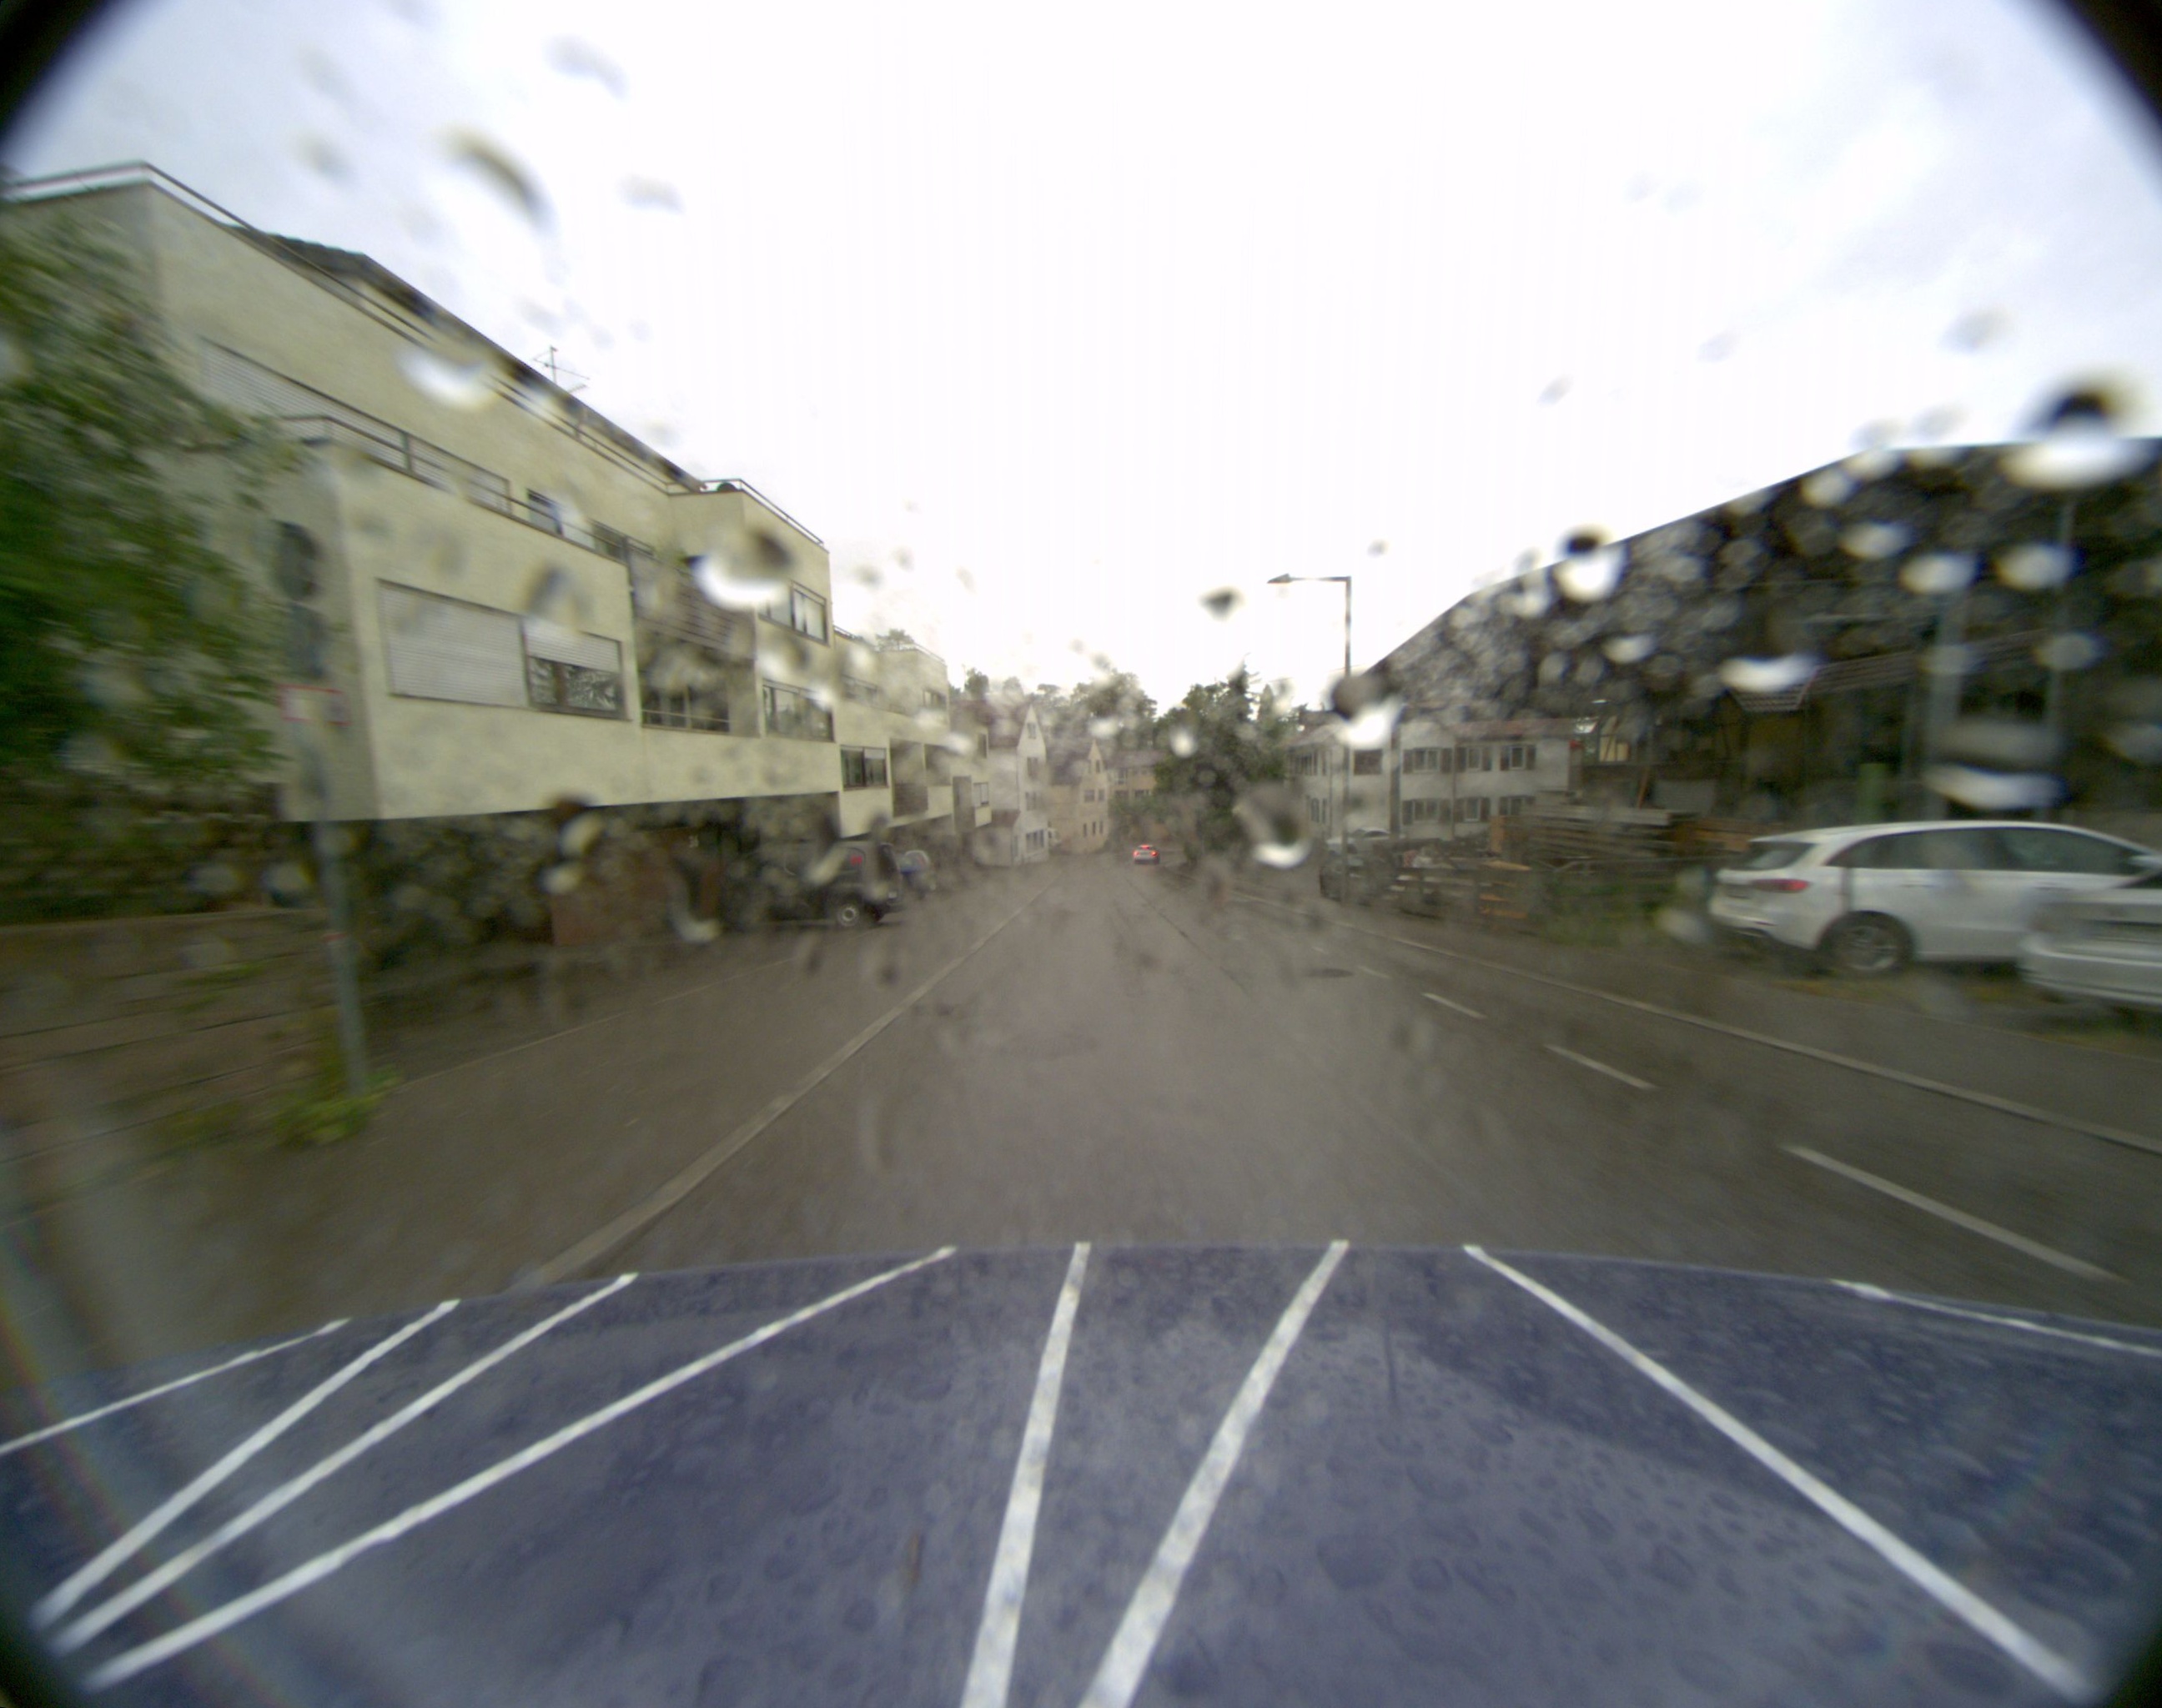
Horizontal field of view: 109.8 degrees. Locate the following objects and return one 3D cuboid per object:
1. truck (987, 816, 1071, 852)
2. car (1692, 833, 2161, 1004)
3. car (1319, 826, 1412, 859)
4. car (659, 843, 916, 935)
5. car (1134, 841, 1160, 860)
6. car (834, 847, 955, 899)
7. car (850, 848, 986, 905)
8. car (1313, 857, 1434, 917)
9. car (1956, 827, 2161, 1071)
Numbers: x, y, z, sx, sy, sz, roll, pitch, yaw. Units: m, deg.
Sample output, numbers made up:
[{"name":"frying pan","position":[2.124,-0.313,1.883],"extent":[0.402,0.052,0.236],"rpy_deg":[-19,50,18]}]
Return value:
[{"name":"truck","position":[-4.593,-1.788,67.252],"extent":[6.964,2.688,2.142],"rpy_deg":[5,3,15]},{"name":"car","position":[9.126,0.570,7.854],"extent":[3.991,1.496,1.903],"rpy_deg":[-1,1,20]},{"name":"car","position":[14.111,-0.585,37.866],"extent":[3.996,1.500,1.803],"rpy_deg":[-1,4,2]},{"name":"car","position":[-6.163,0.699,16.397],"extent":[4.719,1.809,2.000],"rpy_deg":[-1,1,1]},{"name":"car","position":[5.171,-0.313,59.267],"extent":[1.706,1.380,4.052],"rpy_deg":[1,1,8]},{"name":"car","position":[-6.528,0.630,27.033],"extent":[1.783,1.569,4.073],"rpy_deg":[-3,1,29]},{"name":"car","position":[-5.267,0.698,24.988],"extent":[1.783,1.569,4.074],"rpy_deg":[-2,1,39]},{"name":"car","position":[8.147,0.857,21.639],"extent":[1.899,1.433,4.446],"rpy_deg":[1,1,3]},{"name":"car","position":[8.907,0.544,4.579],"extent":[4.503,1.496,1.902],"rpy_deg":[-1,1,13]}]
